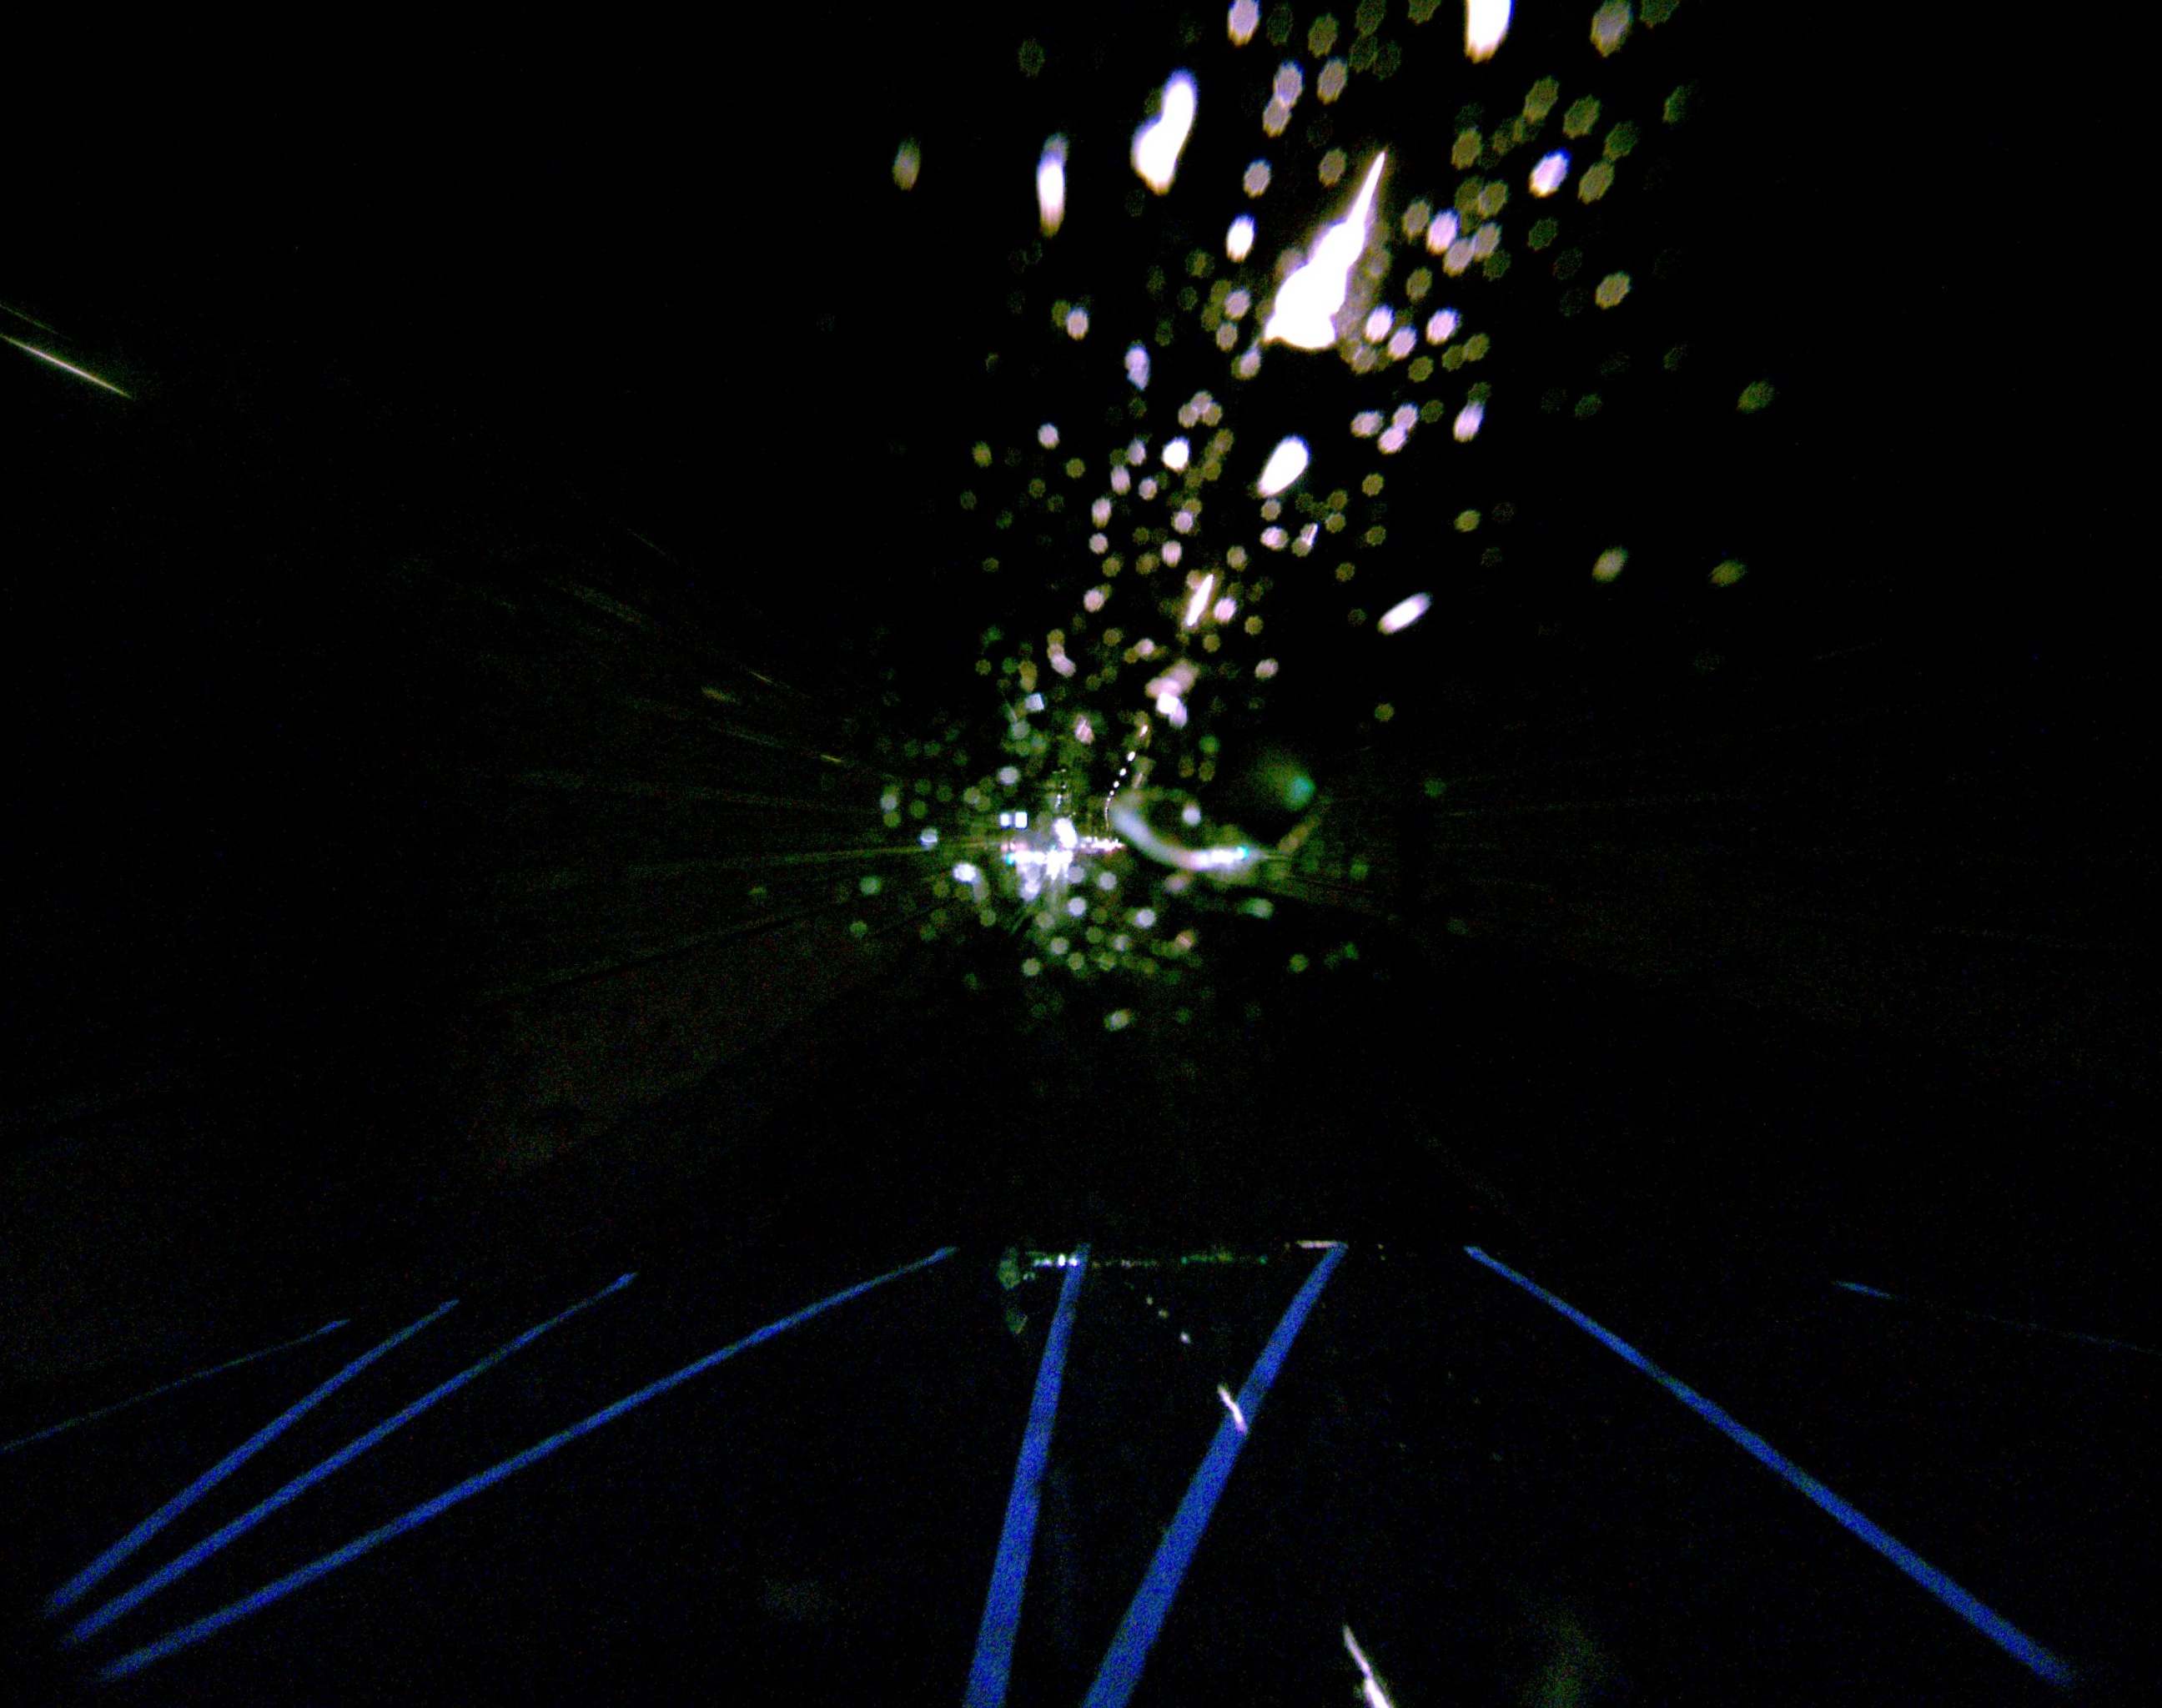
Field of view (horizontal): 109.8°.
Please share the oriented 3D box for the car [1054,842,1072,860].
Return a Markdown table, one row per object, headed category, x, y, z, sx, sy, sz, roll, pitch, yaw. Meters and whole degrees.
| category | x | y | z | sx | sy | sz | roll | pitch | yaw |
| --- | --- | --- | --- | --- | --- | --- | --- | --- | --- |
| car | -2.219 | -0.345 | 92.533 | 2.031 | 2.017 | 4.423 | -3 | 1 | -1 |
